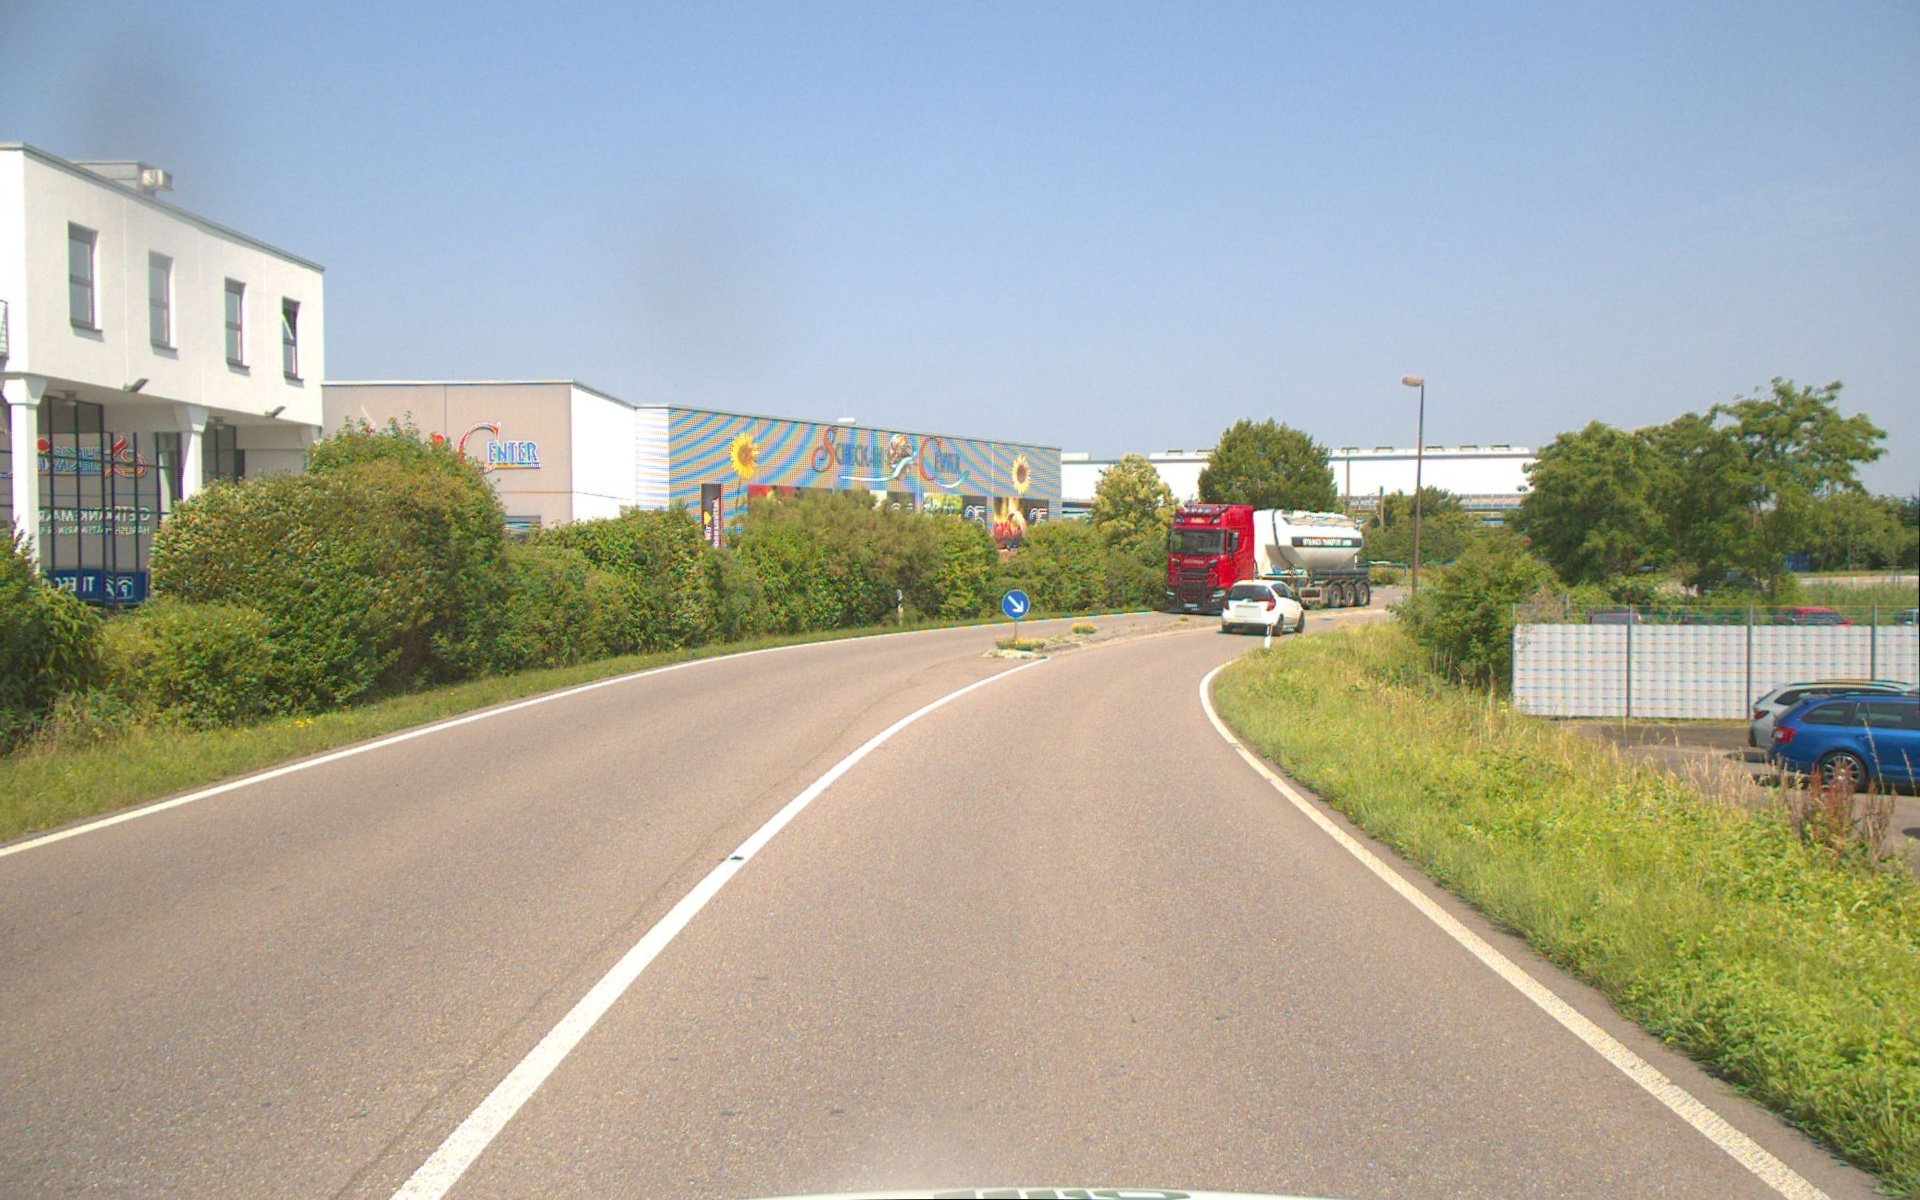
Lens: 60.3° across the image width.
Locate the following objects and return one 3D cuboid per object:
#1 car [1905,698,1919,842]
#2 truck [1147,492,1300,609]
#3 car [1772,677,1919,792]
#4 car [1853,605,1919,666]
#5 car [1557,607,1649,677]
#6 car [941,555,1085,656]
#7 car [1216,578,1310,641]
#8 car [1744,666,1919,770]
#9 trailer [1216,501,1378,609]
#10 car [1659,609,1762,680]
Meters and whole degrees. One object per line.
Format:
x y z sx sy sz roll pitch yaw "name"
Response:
14.028 2.133 19.827 4.537 1.633 1.855 1 1 26 "car"
9.987 -1.773 62.242 2.835 4.101 6.692 1 0 37 "truck"
15.108 2.107 25.557 4.540 1.524 1.854 1 2 29 "car"
33.337 1.237 58.470 1.951 2.049 4.003 1 0 11 "car"
19.950 1.265 51.476 1.951 2.049 4.003 1 0 11 "car"
1.220 0.119 36.113 1.952 2.049 4.000 1 0 20 "car"
9.168 0.311 49.792 1.747 1.630 3.890 6 1 24 "car"
16.193 2.063 28.799 4.293 1.529 1.833 1 2 41 "car"
13.849 -1.717 67.362 2.834 4.101 8.653 1 0 39 "trailer"
22.987 1.318 50.809 1.951 2.049 4.003 1 0 11 "car"
